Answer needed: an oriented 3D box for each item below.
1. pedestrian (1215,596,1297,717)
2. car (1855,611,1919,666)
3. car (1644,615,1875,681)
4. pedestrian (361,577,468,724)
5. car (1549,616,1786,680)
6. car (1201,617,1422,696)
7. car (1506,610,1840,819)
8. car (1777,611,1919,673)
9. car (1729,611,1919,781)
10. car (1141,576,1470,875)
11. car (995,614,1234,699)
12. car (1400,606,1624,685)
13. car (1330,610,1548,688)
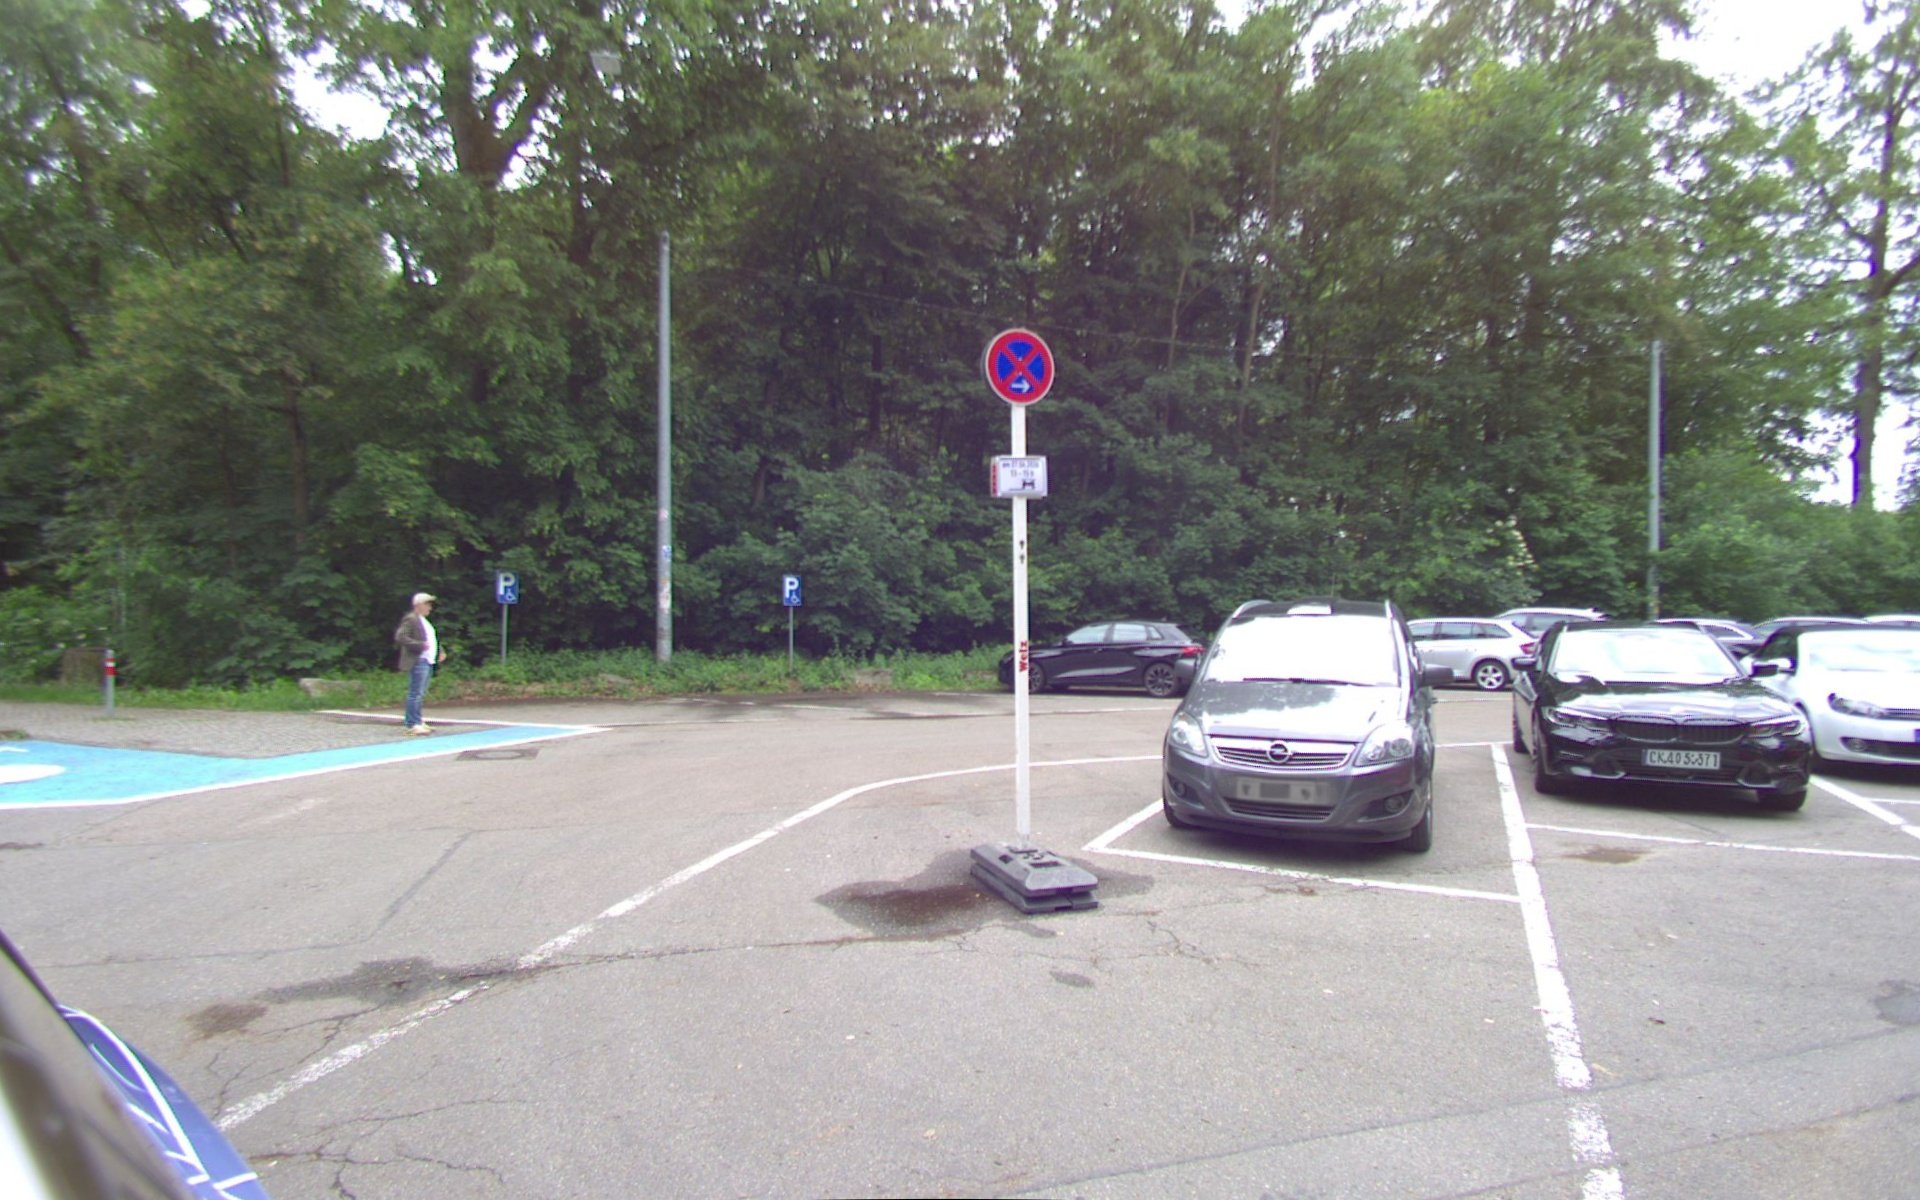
[{"bbox_3d":[4.394,0.823,15.056,0.881,1.738,0.766,0,-1,-17],"label":"pedestrian"},{"bbox_3d":[26.757,1.008,26.792,4.282,1.424,1.907,-1,-1,32],"label":"car"},{"bbox_3d":[19.439,1.120,24.866,4.167,1.468,1.788,0,-1,28],"label":"car"},{"bbox_3d":[-6.631,0.604,12.340,0.884,1.738,0.764,0,-1,0],"label":"pedestrian"},{"bbox_3d":[16.390,1.068,23.745,4.239,1.388,1.948,0,-1,26],"label":"car"},{"bbox_3d":[7.015,1.054,20.229,3.980,1.433,1.893,0,-1,27],"label":"car"},{"bbox_3d":[6.200,0.822,9.342,1.750,1.454,4.242,0,-1,25],"label":"car"},{"bbox_3d":[23.375,1.049,25.903,3.568,1.516,1.718,0,-1,30],"label":"car"},{"bbox_3d":[9.315,0.838,10.234,1.764,1.454,3.810,-1,-1,27],"label":"car"},{"bbox_3d":[2.871,0.707,7.871,1.819,1.621,4.350,-1,-1,25],"label":"car"},{"bbox_3d":[2.946,1.023,19.448,4.185,1.473,1.881,-1,-1,28],"label":"car"},{"bbox_3d":[12.316,0.966,22.847,4.242,1.649,1.947,0,-1,28],"label":"car"},{"bbox_3d":[10.031,0.964,21.244,3.987,1.478,1.815,0,-1,32],"label":"car"}]
